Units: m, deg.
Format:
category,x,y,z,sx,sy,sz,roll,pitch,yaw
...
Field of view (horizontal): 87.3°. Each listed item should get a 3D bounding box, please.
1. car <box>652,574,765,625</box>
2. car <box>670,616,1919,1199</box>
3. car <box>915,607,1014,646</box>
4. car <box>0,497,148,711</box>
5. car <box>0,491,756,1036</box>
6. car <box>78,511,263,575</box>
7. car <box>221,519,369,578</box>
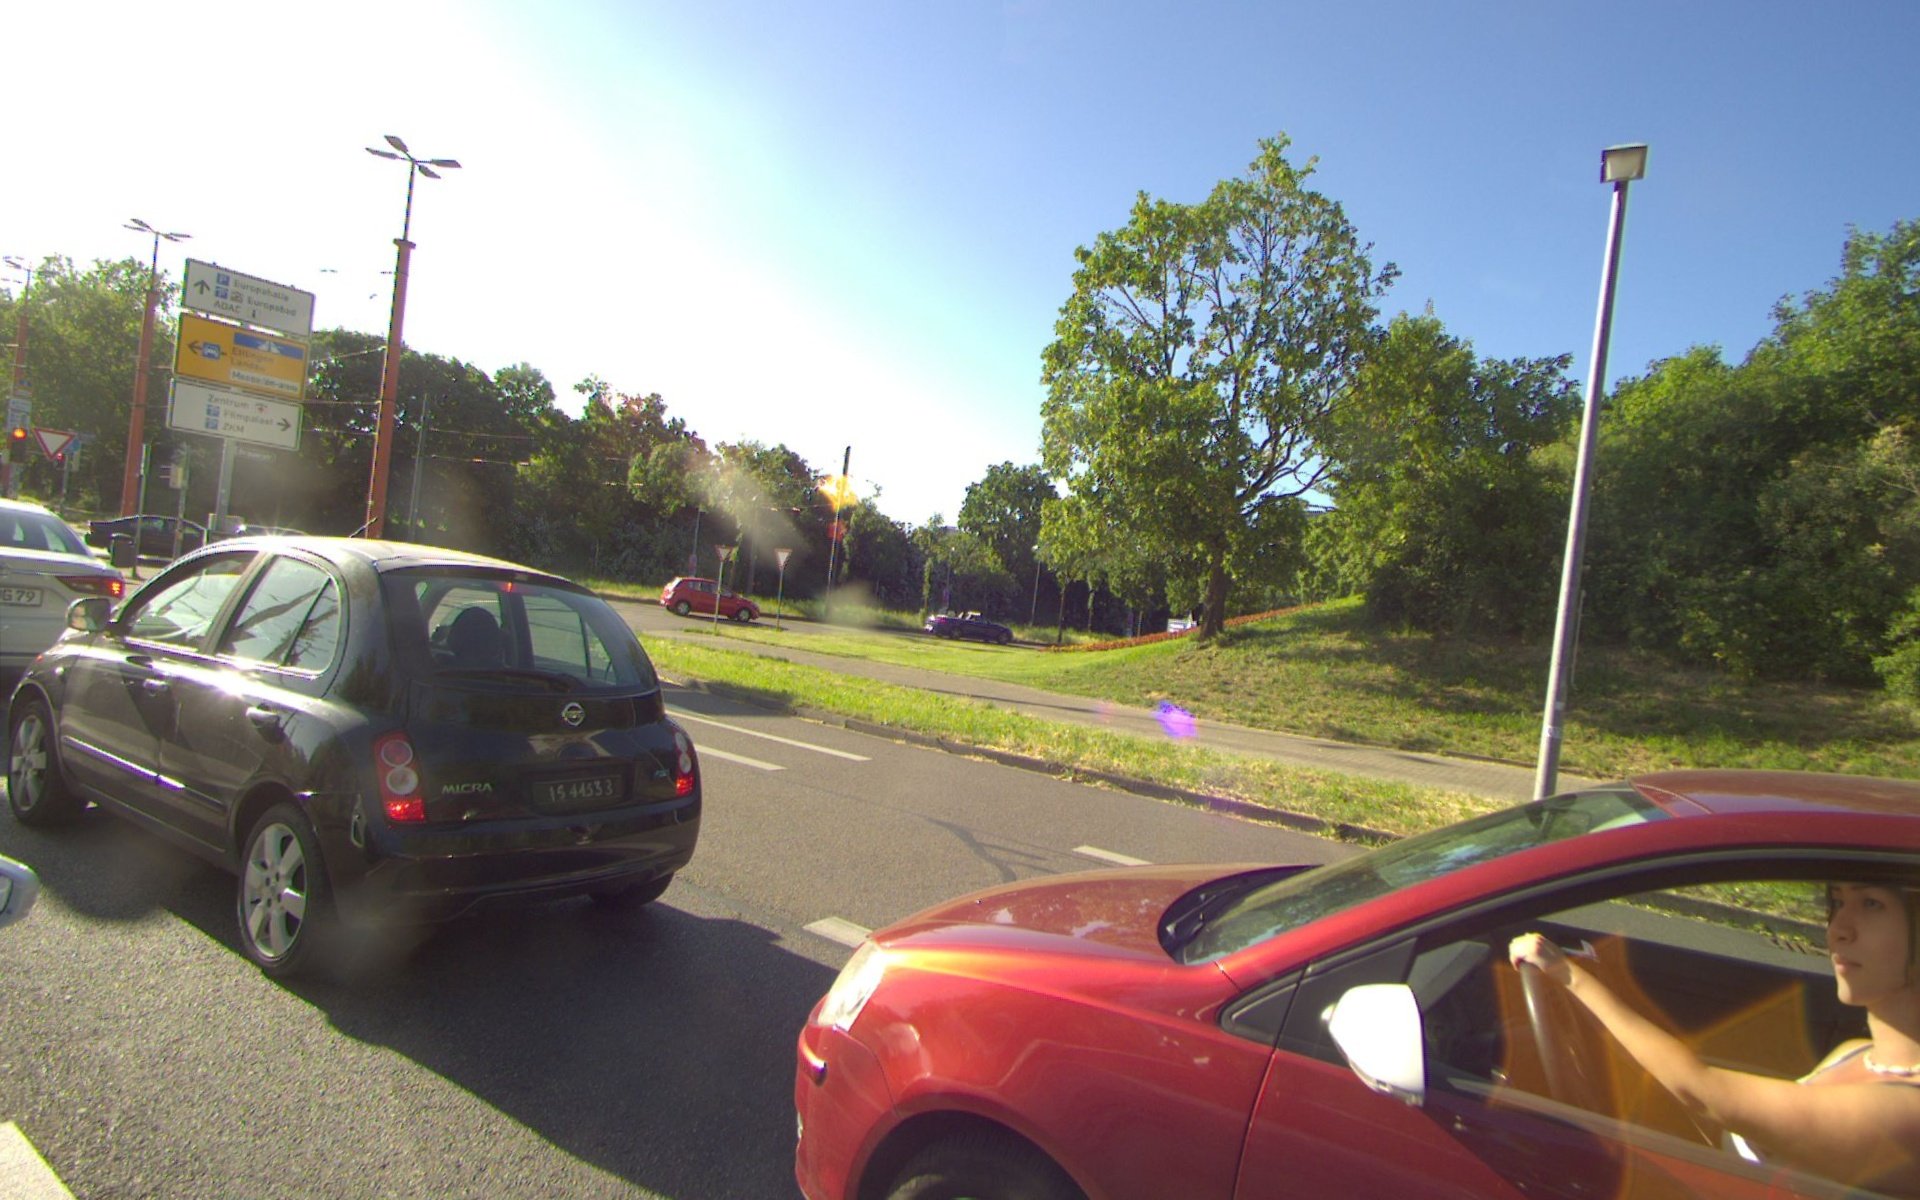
category,x,y,z,sx,sy,sz,roll,pitch,yaw
car,-10.126,-0.023,40.570,3.958,1.512,1.757,8,-1,-31
car,1.360,0.988,1.899,3.634,1.434,1.624,7,-1,34
car,0.249,1.343,50.639,4.617,1.379,1.758,8,-1,-30
car,-8.358,-0.166,7.982,4.077,1.472,1.717,7,-1,33
car,-2.832,0.462,4.629,3.457,1.524,1.558,7,0,32
car,-24.800,-1.766,31.829,4.271,1.343,1.748,8,-1,-29
car,-23.969,-1.823,36.445,4.186,1.497,1.741,8,-1,-29
